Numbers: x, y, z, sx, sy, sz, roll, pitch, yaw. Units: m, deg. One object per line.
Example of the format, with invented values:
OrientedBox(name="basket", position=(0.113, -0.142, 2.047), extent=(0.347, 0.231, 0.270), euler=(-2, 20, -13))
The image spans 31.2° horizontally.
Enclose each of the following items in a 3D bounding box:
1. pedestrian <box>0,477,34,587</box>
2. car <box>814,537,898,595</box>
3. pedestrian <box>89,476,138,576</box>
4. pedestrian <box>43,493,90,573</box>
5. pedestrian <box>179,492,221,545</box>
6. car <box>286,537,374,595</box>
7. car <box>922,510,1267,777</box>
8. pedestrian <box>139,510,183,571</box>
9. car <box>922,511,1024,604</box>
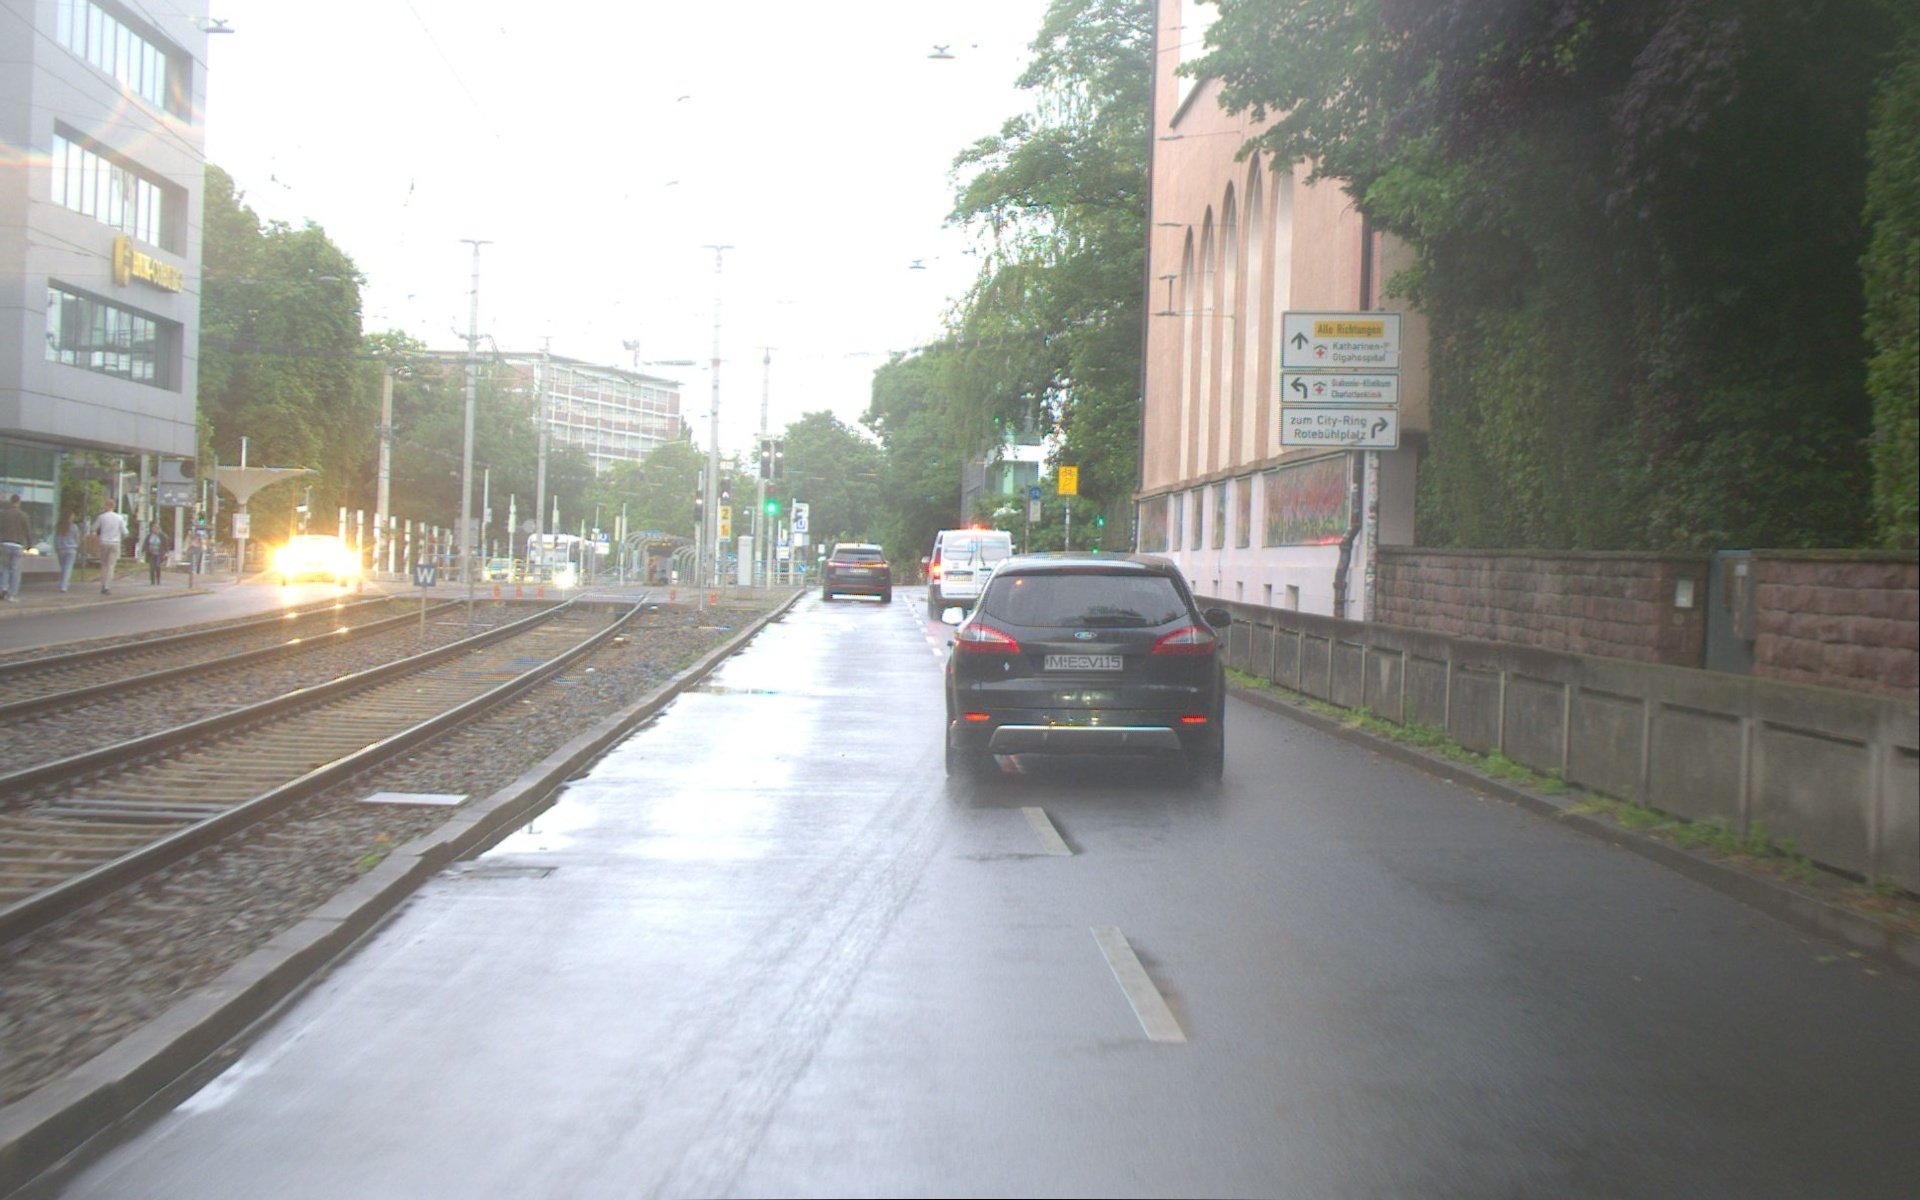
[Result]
OrientedBox(name="pedestrian", position=(-17.777, -1.271, 64.156), extent=(0.661, 2.007, 0.811), euler=(4, 0, -1))
OrientedBox(name="car", position=(-2.776, -0.911, 92.538), extent=(2.098, 1.500, 4.732), euler=(1, 1, 0))
OrientedBox(name="pedestrian", position=(-17.438, -1.519, 70.792), extent=(0.661, 2.007, 0.617), euler=(3, 0, -39))
OrientedBox(name="pedestrian", position=(-18.332, -1.369, 70.537), extent=(0.587, 1.588, 0.635), euler=(4, 0, 16))
OrientedBox(name="pedestrian", position=(-23.931, -2.566, 108.273), extent=(0.910, 1.588, 1.003), euler=(4, 0, 7))
OrientedBox(name="car", position=(-17.343, -0.958, 94.804), extent=(1.939, 1.531, 4.350), euler=(-1, 1, -5))
OrientedBox(name="car", position=(0.806, 0.231, 23.468), extent=(2.036, 1.579, 4.392), euler=(2, 1, -1))
OrientedBox(name="pedestrian", position=(-21.584, -1.608, 92.831), extent=(0.963, 1.588, 0.589), euler=(4, 0, -26))
OrientedBox(name="car", position=(0.295, -0.917, 73.149), extent=(2.036, 1.833, 4.392), euler=(2, 1, 1))
